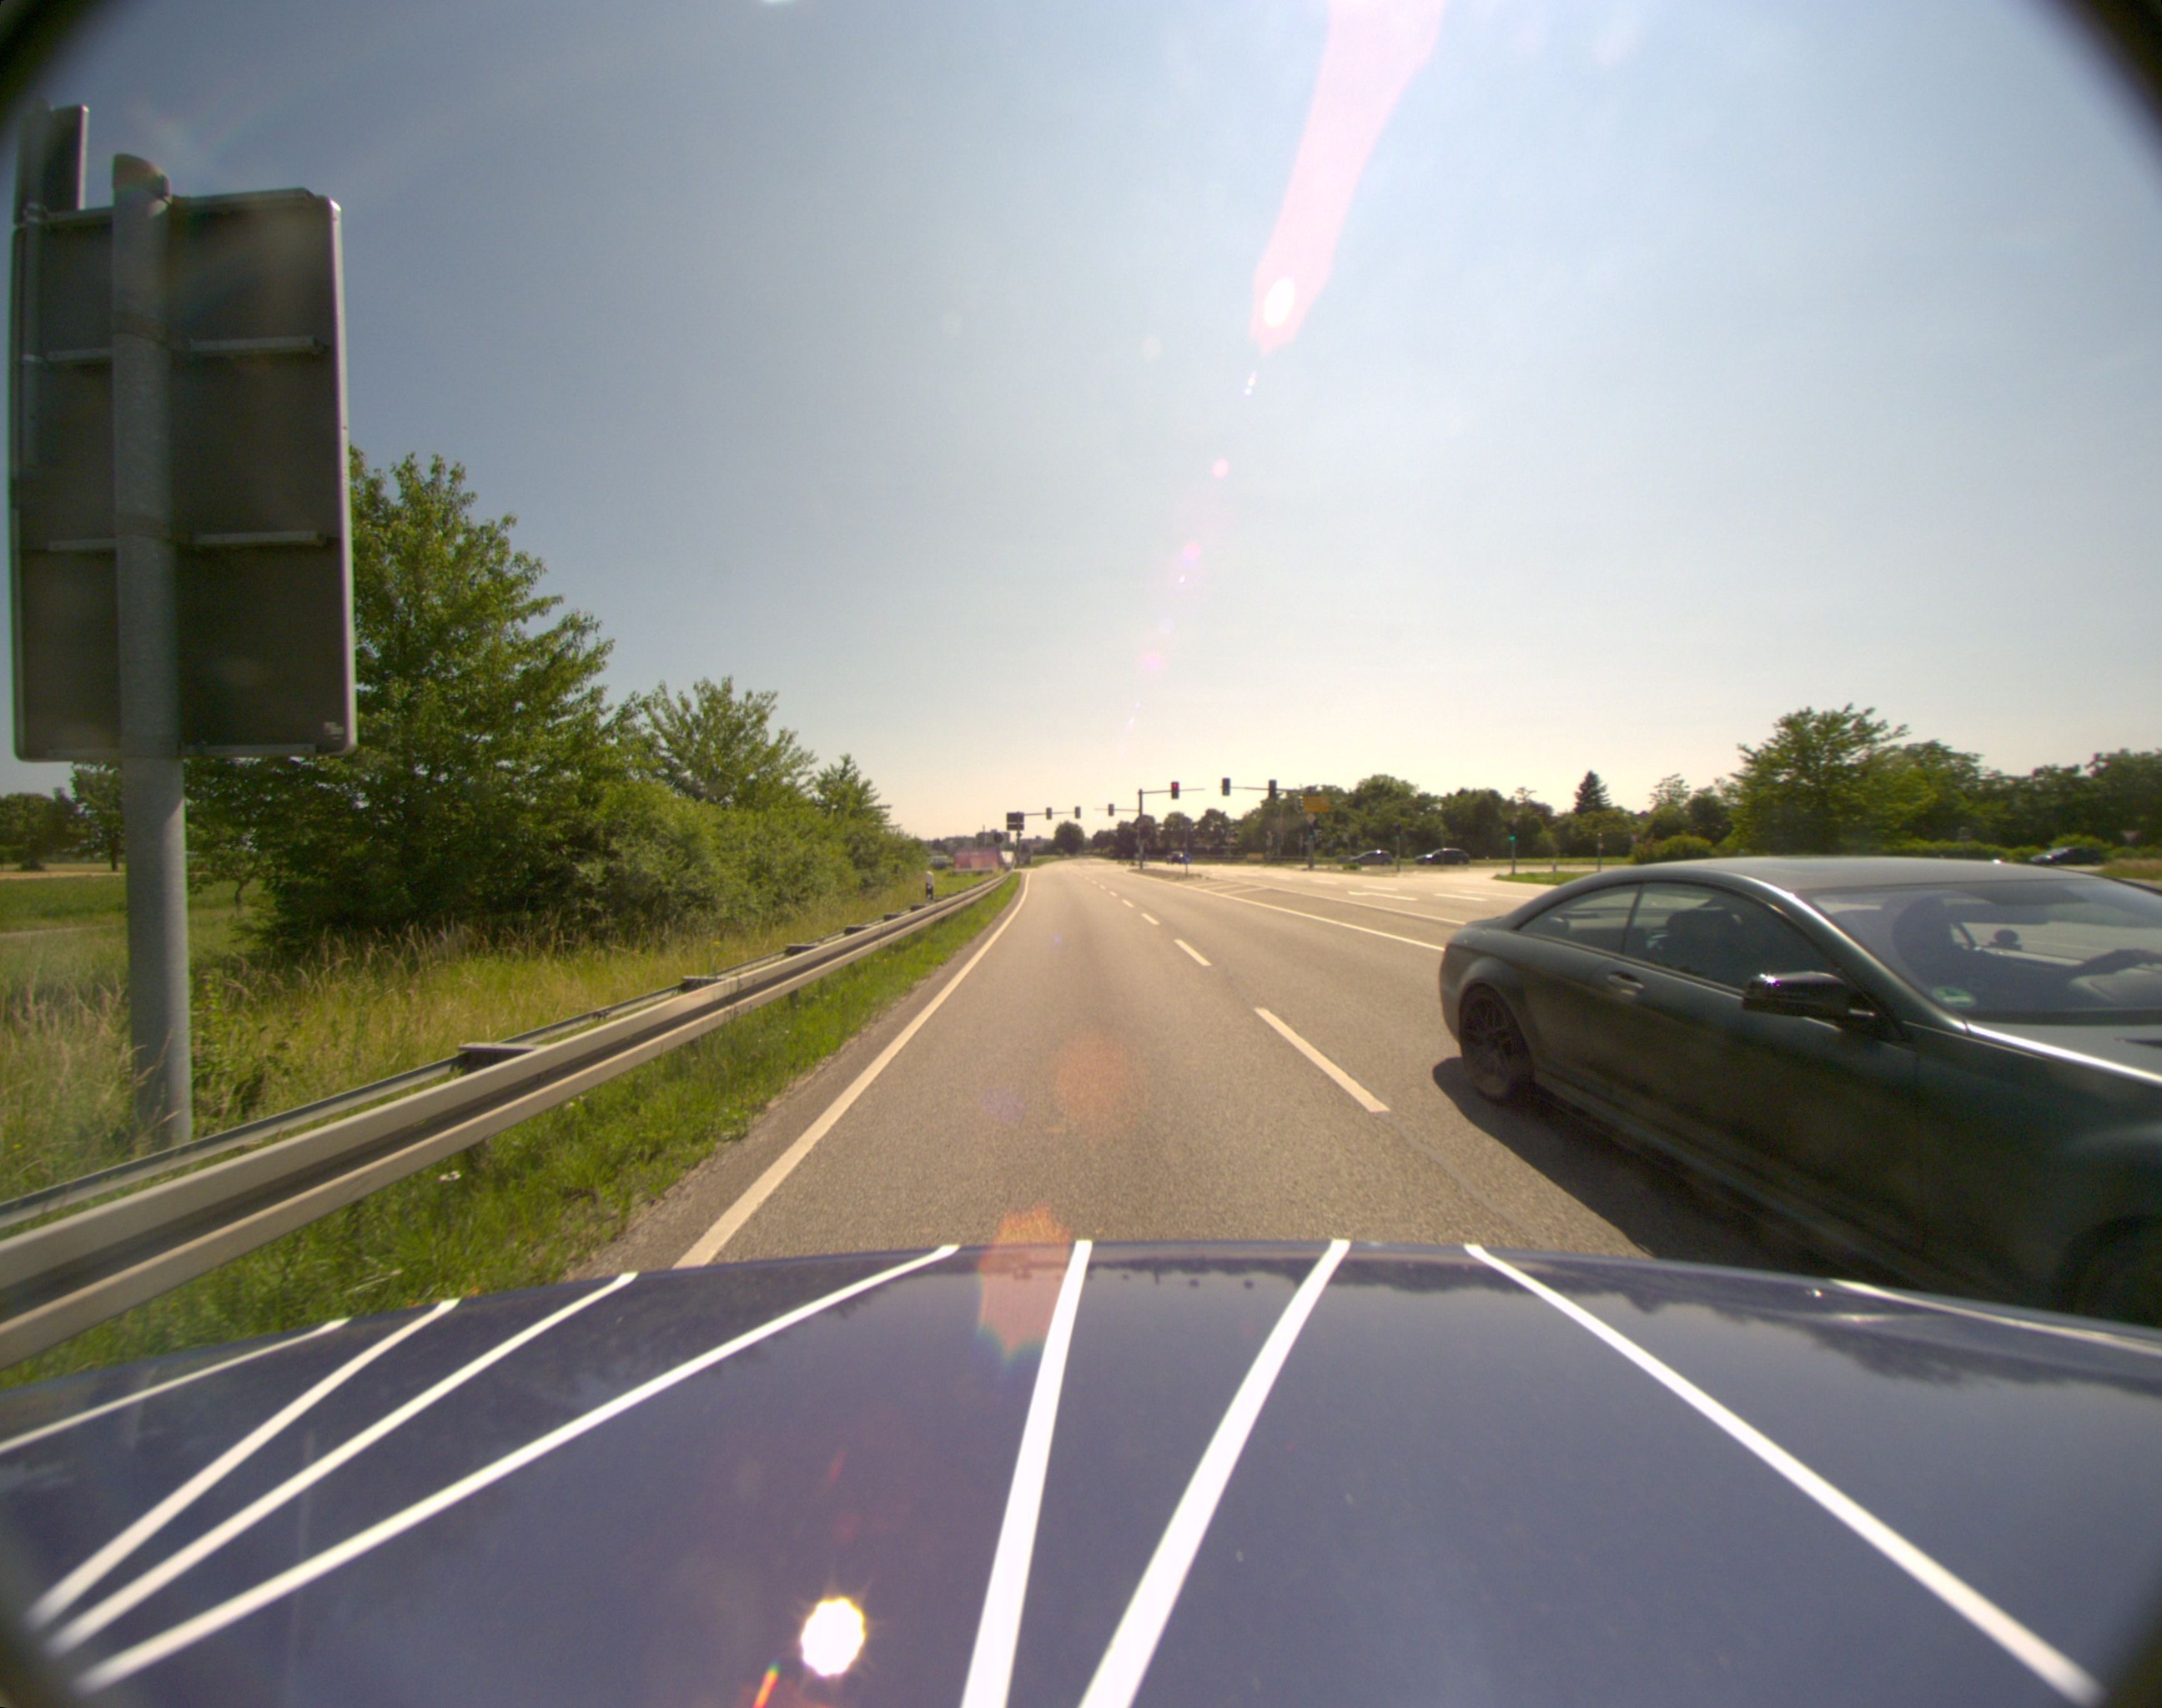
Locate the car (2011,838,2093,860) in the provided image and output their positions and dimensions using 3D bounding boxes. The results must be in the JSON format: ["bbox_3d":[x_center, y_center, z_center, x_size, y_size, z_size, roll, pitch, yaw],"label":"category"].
[{"bbox_3d":[78.059,-0.440,61.105,3.995,1.565,1.738,-2,1,7],"label":"car"}]

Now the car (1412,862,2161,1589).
[{"bbox_3d":[3.220,0.827,2.832,1.815,1.441,4.876,-2,0,0],"label":"car"}]

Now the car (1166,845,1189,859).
[{"bbox_3d":[11.780,-0.244,92.819,1.835,1.591,4.302,0,1,-5],"label":"car"}]

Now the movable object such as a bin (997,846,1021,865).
[{"bbox_3d":[-9.609,0.180,101.431,1.523,2.349,4.429,-2,1,17],"label":"movable object such as a bin"}]

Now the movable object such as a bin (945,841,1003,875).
[{"bbox_3d":[-8.008,0.287,57.027,4.106,2.318,1.277,-3,1,-5],"label":"movable object such as a bin"}]

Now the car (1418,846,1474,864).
[{"bbox_3d":[33.328,0.090,69.490,4.361,1.585,1.637,0,1,15],"label":"car"}]

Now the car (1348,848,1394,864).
[{"bbox_3d":[27.034,0.192,70.943,3.874,1.379,1.636,-1,0,12],"label":"car"}]

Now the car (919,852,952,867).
[{"bbox_3d":[-15.678,0.595,82.035,3.346,1.491,1.399,-1,1,-7],"label":"car"}]
